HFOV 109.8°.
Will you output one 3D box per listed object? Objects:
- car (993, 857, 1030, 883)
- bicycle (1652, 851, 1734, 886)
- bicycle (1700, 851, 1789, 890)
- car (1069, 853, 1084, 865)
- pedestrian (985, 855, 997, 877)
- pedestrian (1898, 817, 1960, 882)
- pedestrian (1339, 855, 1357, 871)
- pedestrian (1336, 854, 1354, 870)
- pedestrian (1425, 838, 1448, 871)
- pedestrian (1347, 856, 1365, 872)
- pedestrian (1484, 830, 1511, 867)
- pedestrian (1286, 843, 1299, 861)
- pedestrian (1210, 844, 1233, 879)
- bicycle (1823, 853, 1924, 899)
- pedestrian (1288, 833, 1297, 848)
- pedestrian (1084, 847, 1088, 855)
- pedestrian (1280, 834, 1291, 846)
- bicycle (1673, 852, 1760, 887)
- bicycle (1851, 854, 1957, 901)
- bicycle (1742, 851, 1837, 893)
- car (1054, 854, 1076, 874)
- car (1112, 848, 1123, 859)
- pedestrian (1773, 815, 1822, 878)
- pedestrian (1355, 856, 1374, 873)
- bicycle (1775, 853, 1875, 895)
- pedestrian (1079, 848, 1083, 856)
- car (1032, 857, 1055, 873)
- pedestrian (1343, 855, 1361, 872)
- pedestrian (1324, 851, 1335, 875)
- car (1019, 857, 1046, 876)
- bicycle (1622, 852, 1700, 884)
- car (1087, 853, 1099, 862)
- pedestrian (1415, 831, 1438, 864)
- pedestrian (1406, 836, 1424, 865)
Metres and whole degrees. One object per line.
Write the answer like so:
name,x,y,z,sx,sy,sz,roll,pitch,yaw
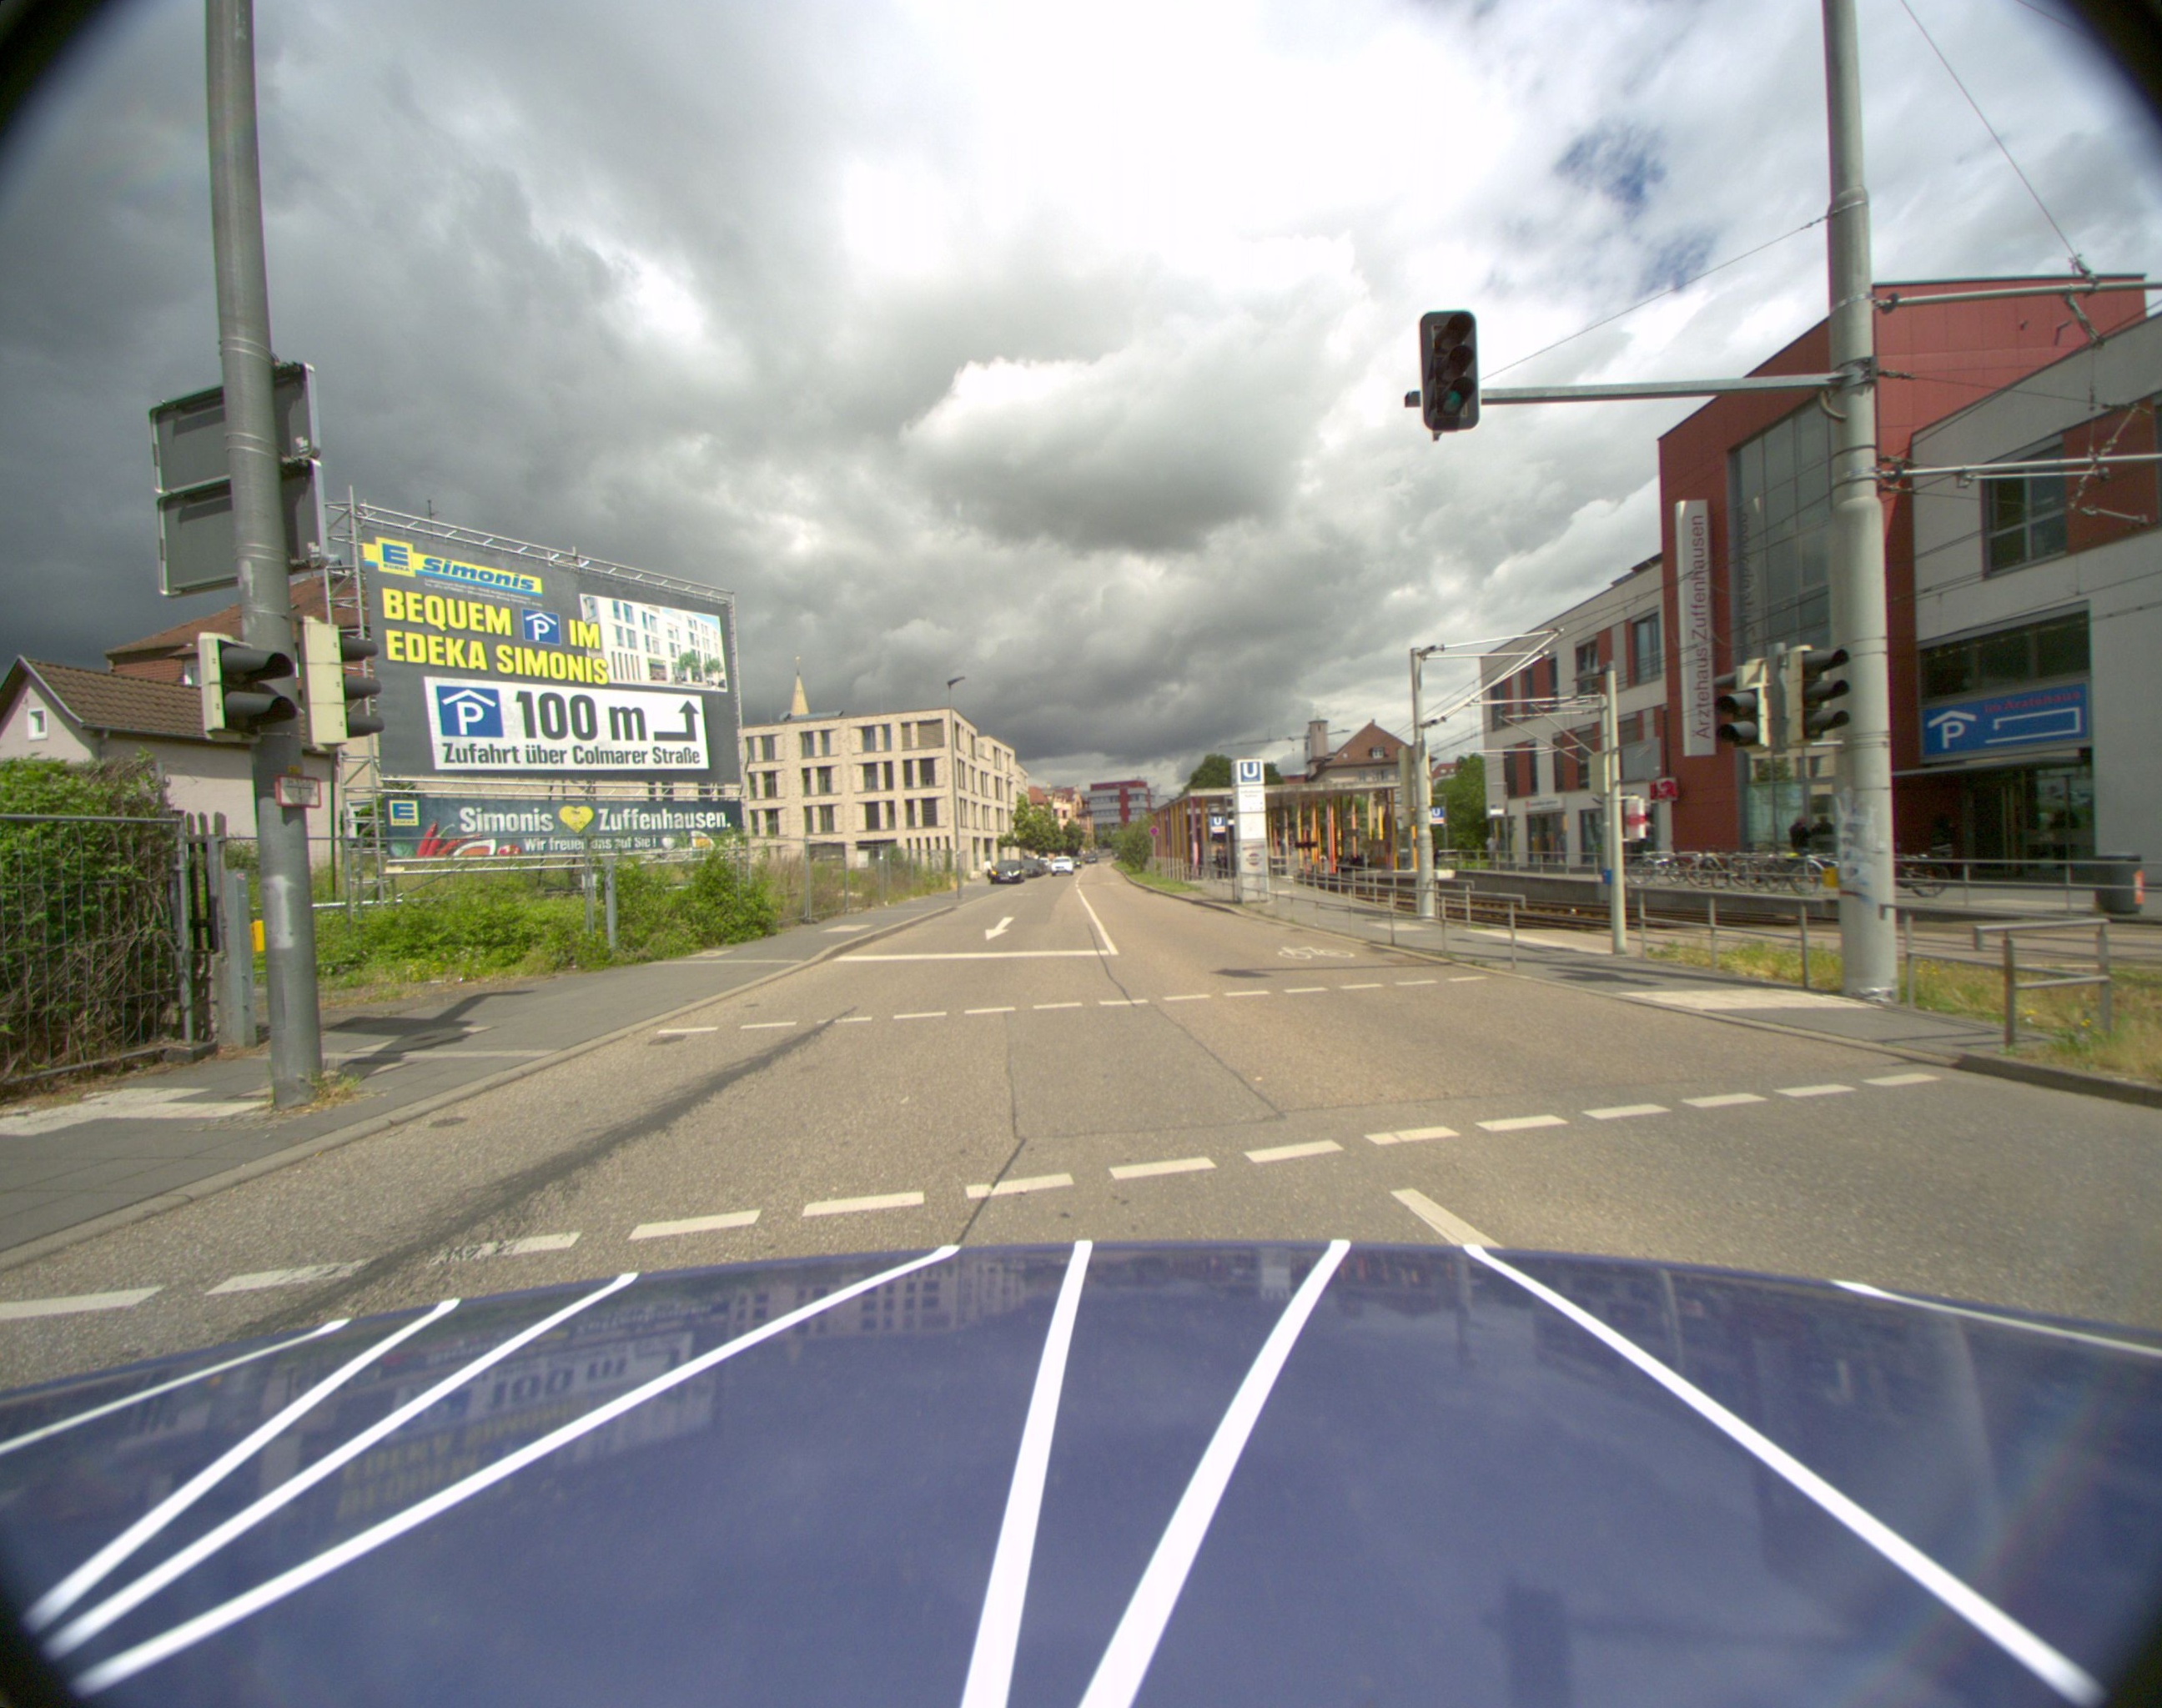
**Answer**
car,-4.158,0.961,46.117,1.677,1.415,3.794,-1,1,3
bicycle,17.591,0.411,21.855,1.861,0.927,0.455,-2,1,9
bicycle,17.548,0.432,20.125,1.861,0.934,0.454,-2,1,5
car,-0.504,0.585,91.328,1.678,1.425,3.794,-2,1,0
pedestrian,-6.255,0.846,52.897,0.673,1.503,0.782,-2,0,1
pedestrian,22.646,-0.132,20.315,0.933,1.688,0.790,0,2,35
pedestrian,19.182,0.650,54.591,0.943,1.128,0.886,-2,0,2
pedestrian,19.291,0.613,55.537,0.943,1.128,0.886,-2,0,2
pedestrian,21.273,0.039,45.465,0.864,1.957,1.105,-1,2,-1
pedestrian,19.070,0.688,52.643,0.943,1.128,0.886,-2,0,2
pedestrian,22.347,-0.316,40.800,0.864,1.957,1.106,-1,2,3
pedestrian,24.545,-0.212,88.191,1.127,2.002,1.179,-1,0,6
pedestrian,7.702,0.399,41.647,1.105,1.903,0.864,-1,2,2
bicycle,17.711,0.492,17.003,1.739,0.952,0.428,-2,1,3
pedestrian,29.634,-1.894,106.278,1.125,2.002,1.661,-1,0,13
pedestrian,1.030,-0.498,143.104,0.673,1.503,0.783,-2,0,3
pedestrian,32.313,-2.224,120.129,1.451,2.002,1.968,0,1,19
bicycle,17.566,0.426,21.026,1.861,0.917,0.455,-2,1,8
bicycle,17.723,0.506,16.370,1.739,0.947,0.428,-2,1,3
bicycle,17.682,0.441,18.974,1.862,0.957,0.454,-2,1,3
car,-1.298,0.793,62.576,1.719,1.541,3.793,-1,0,1
car,6.040,-0.076,126.756,1.588,1.528,3.946,-5,1,1
pedestrian,22.010,-0.236,23.344,0.881,1.835,0.862,-4,3,-27
pedestrian,19.265,0.702,51.688,0.943,1.128,0.886,-2,0,2
bicycle,17.645,0.473,18.042,1.862,0.930,0.454,-2,1,3
pedestrian,0.078,-0.301,143.276,0.673,1.503,0.783,-2,0,3
car,-3.293,0.989,67.864,1.677,1.299,3.794,-1,1,3
pedestrian,19.085,0.670,53.601,0.943,1.128,0.886,-2,0,2
pedestrian,21.867,0.788,66.874,0.617,2.002,0.775,-1,0,-6
car,-3.803,0.986,59.961,1.677,1.367,3.795,-2,0,3
bicycle,17.532,0.425,22.983,1.861,0.876,0.455,-2,1,9
car,1.858,0.542,116.414,1.677,1.299,3.794,-1,1,3
pedestrian,20.681,-0.407,45.477,0.864,1.957,1.105,-1,2,-1
pedestrian,23.377,-0.252,53.219,0.863,1.957,1.106,-1,2,6
